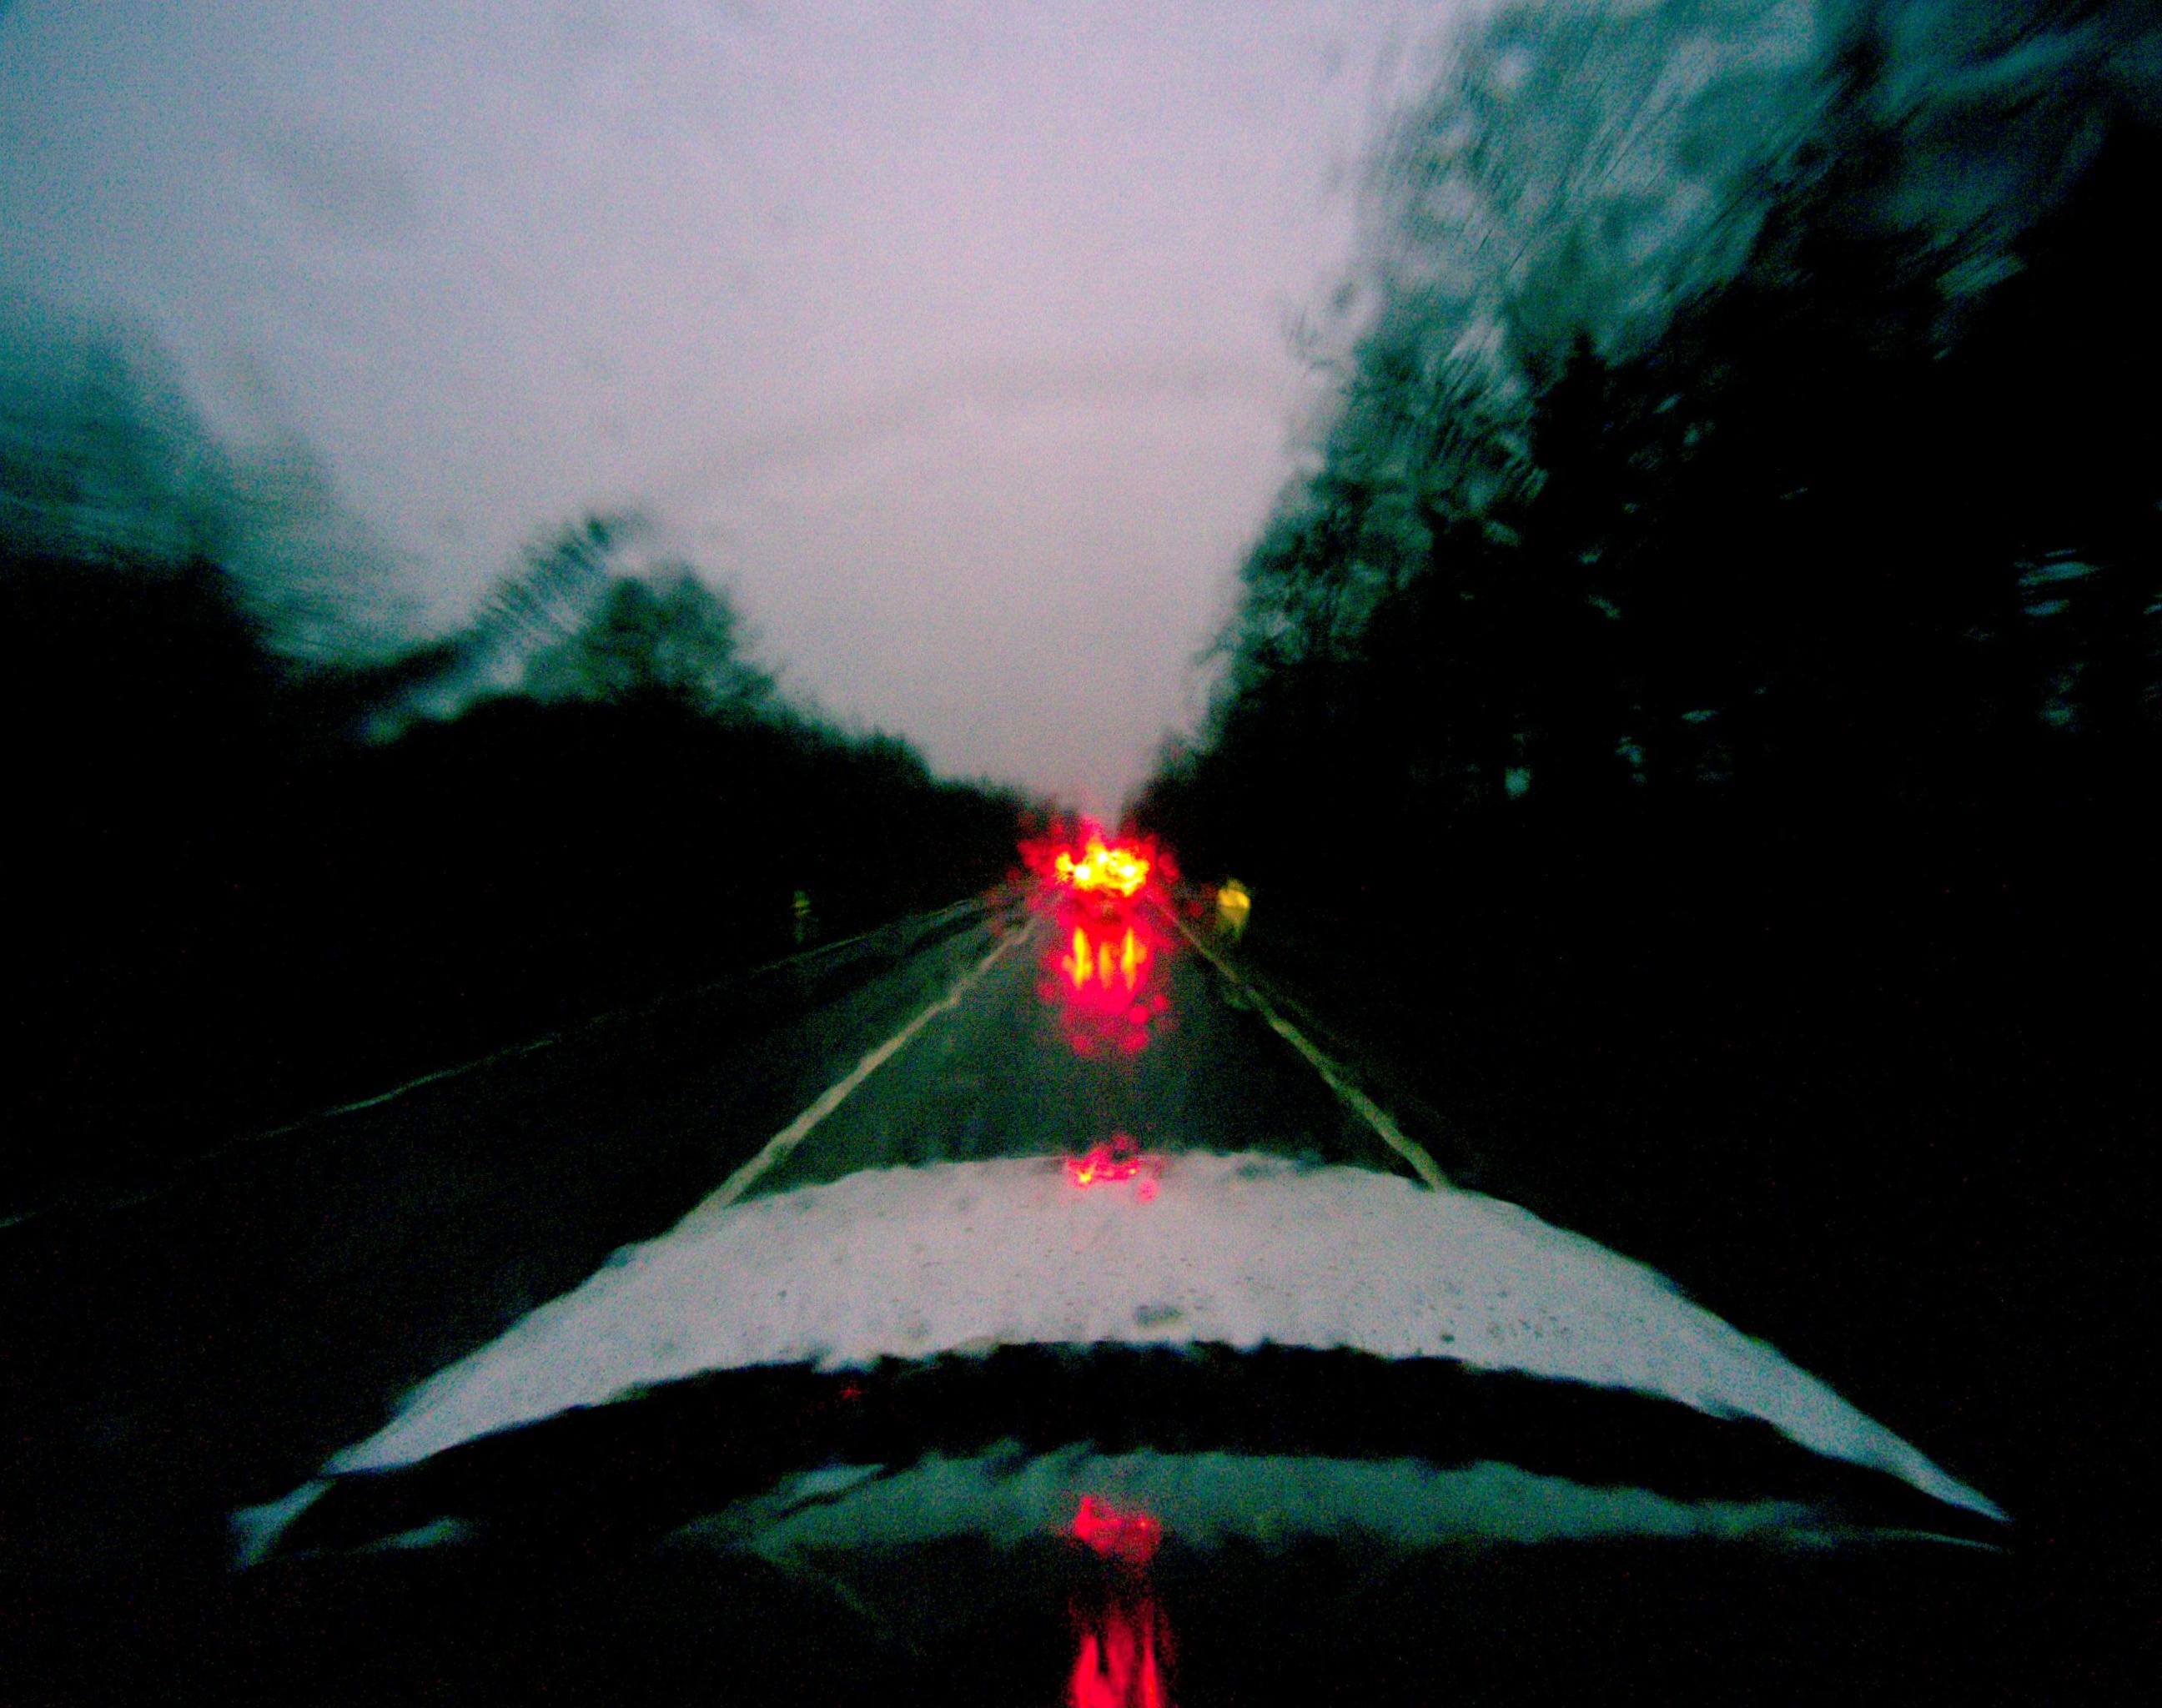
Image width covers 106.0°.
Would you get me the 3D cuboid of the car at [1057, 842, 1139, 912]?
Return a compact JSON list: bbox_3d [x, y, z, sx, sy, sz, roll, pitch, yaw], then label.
[{"bbox_3d":[0.526,0.635,24.264,2.190,1.877,4.828,0,0,1],"label":"car"}]
